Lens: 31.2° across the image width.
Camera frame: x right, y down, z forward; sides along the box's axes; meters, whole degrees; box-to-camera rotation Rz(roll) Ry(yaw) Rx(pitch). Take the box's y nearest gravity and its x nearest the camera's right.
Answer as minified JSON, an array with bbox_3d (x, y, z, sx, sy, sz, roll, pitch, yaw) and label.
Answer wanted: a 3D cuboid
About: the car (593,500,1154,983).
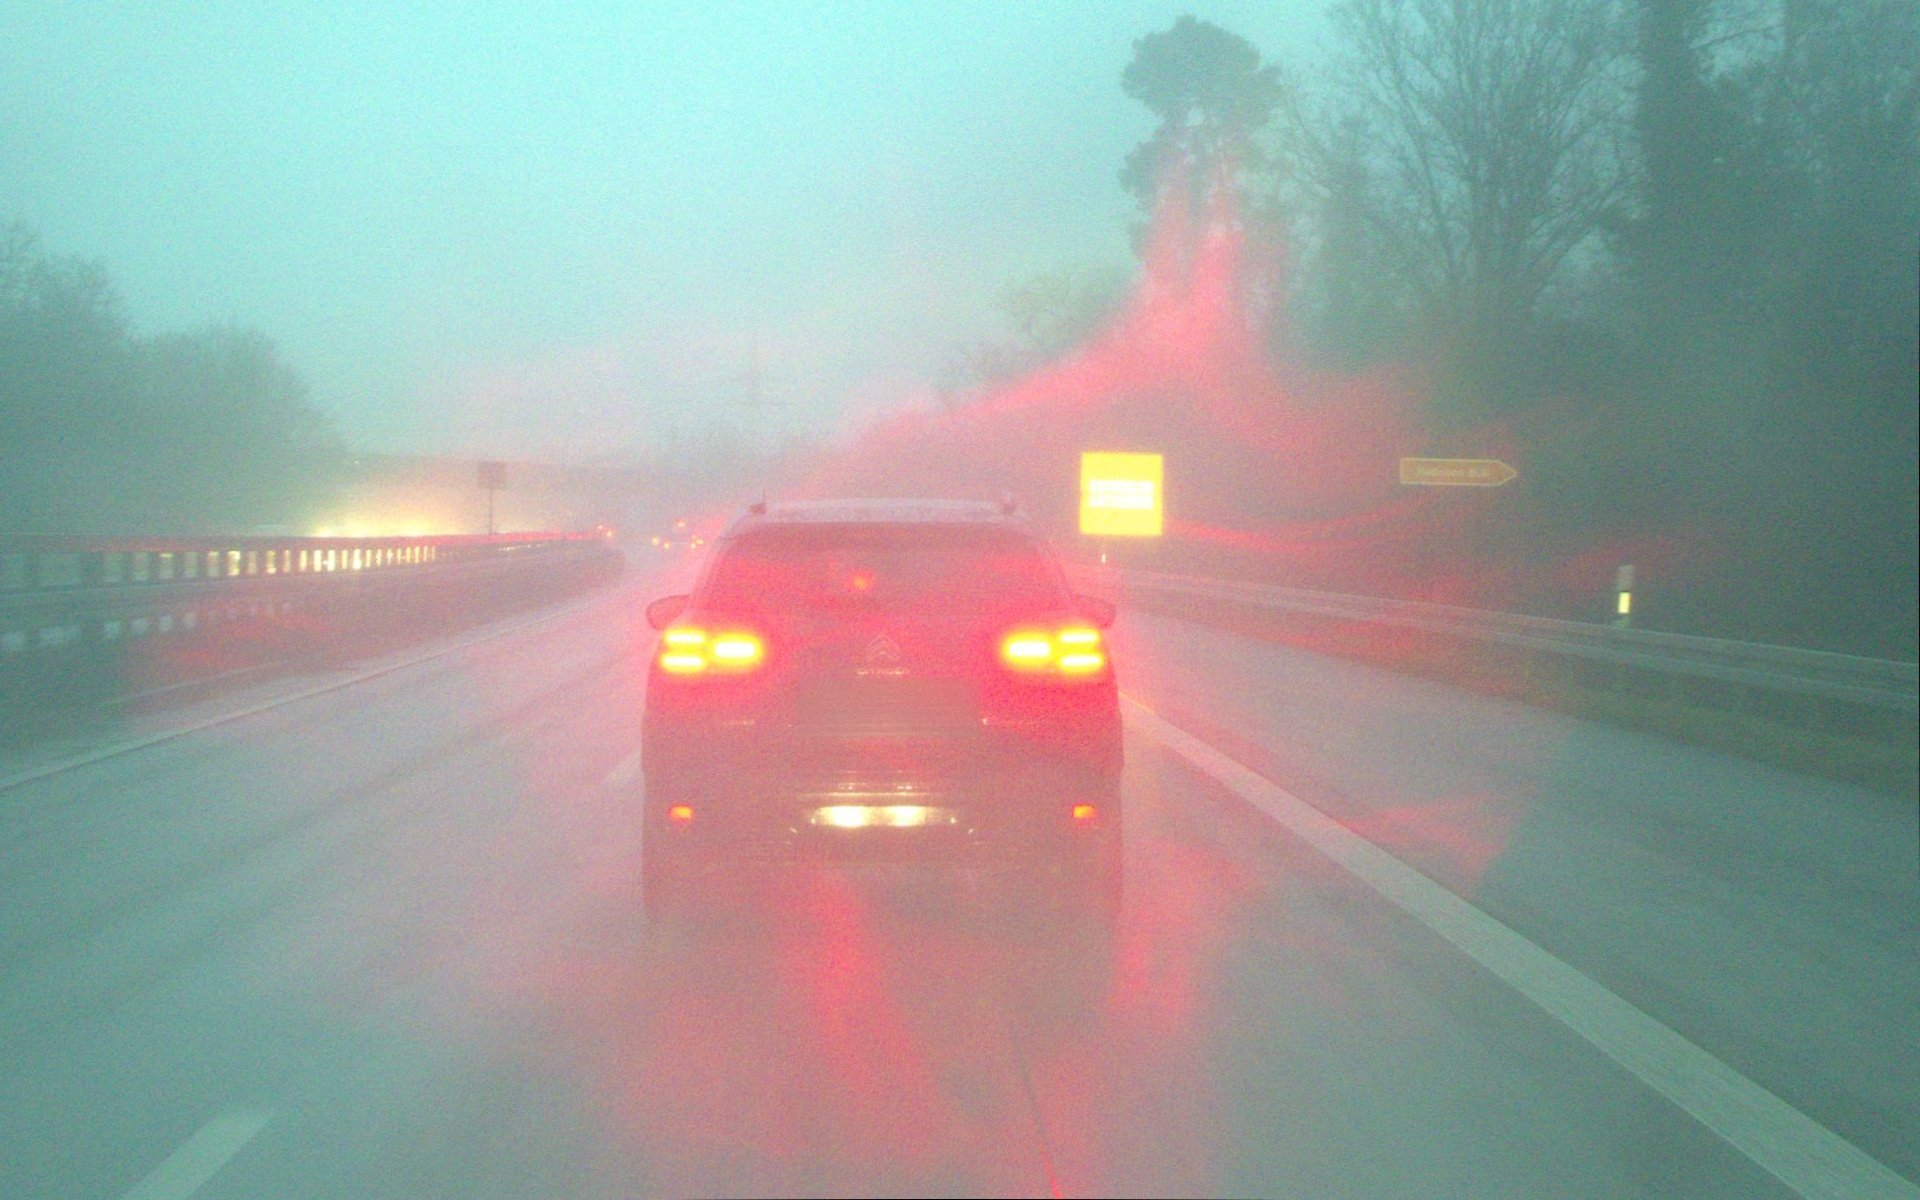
[{"bbox_3d":[-0.347,0.476,14.213,1.992,1.709,3.830,1,1,-1],"label":"car"}]

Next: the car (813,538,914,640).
[{"bbox_3d":[-1.966,-0.247,70.380,1.993,2.007,4.000,1,1,-2],"label":"car"}]
